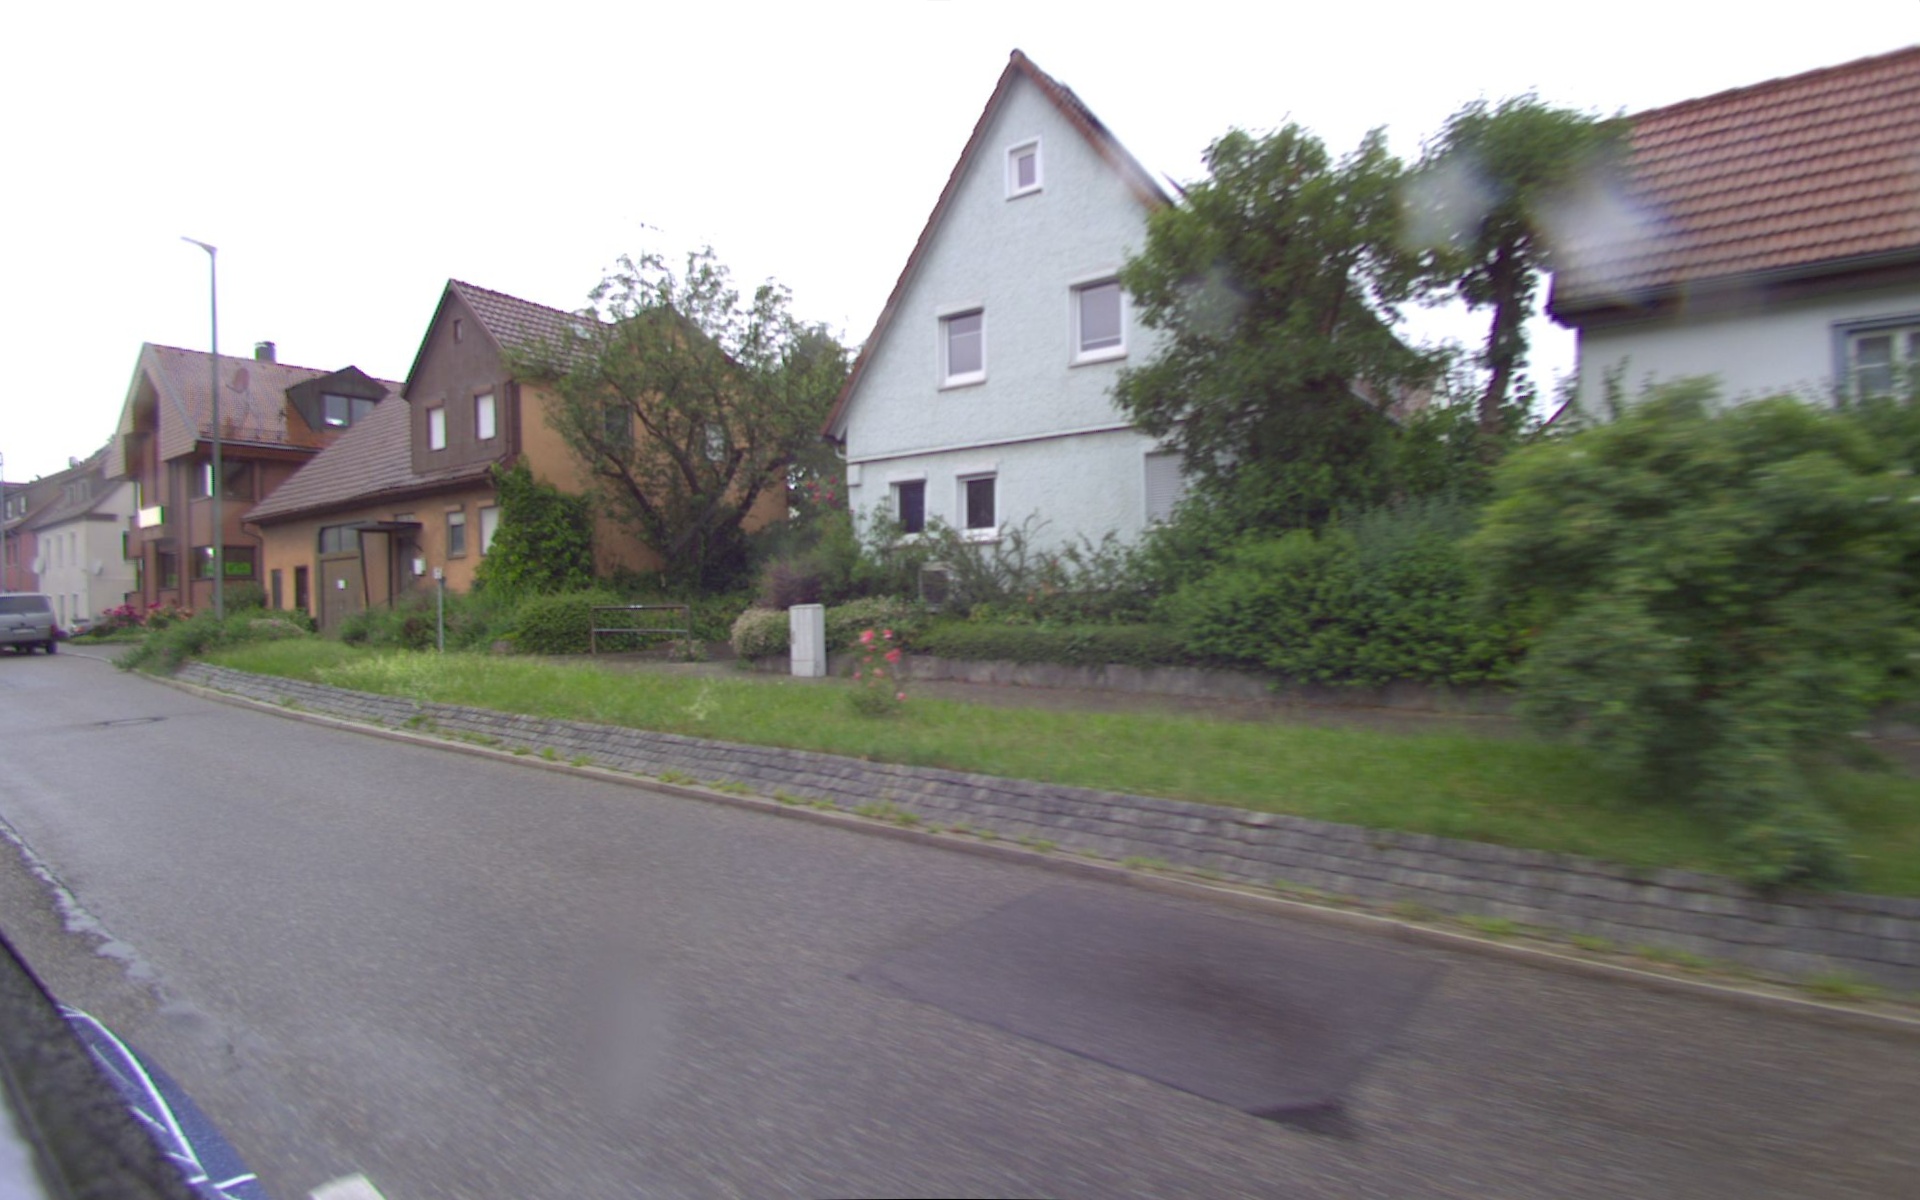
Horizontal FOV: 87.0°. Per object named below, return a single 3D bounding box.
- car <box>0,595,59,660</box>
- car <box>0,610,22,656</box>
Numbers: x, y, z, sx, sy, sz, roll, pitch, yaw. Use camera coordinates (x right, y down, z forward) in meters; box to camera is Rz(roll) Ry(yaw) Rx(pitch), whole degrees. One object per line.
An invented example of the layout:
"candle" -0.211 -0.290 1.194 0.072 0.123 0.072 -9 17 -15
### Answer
"car" -30.702 0.889 32.468 4.183 1.937 1.825 -1 2 37
"car" -34.602 1.174 35.548 3.658 1.586 1.791 -1 0 37
